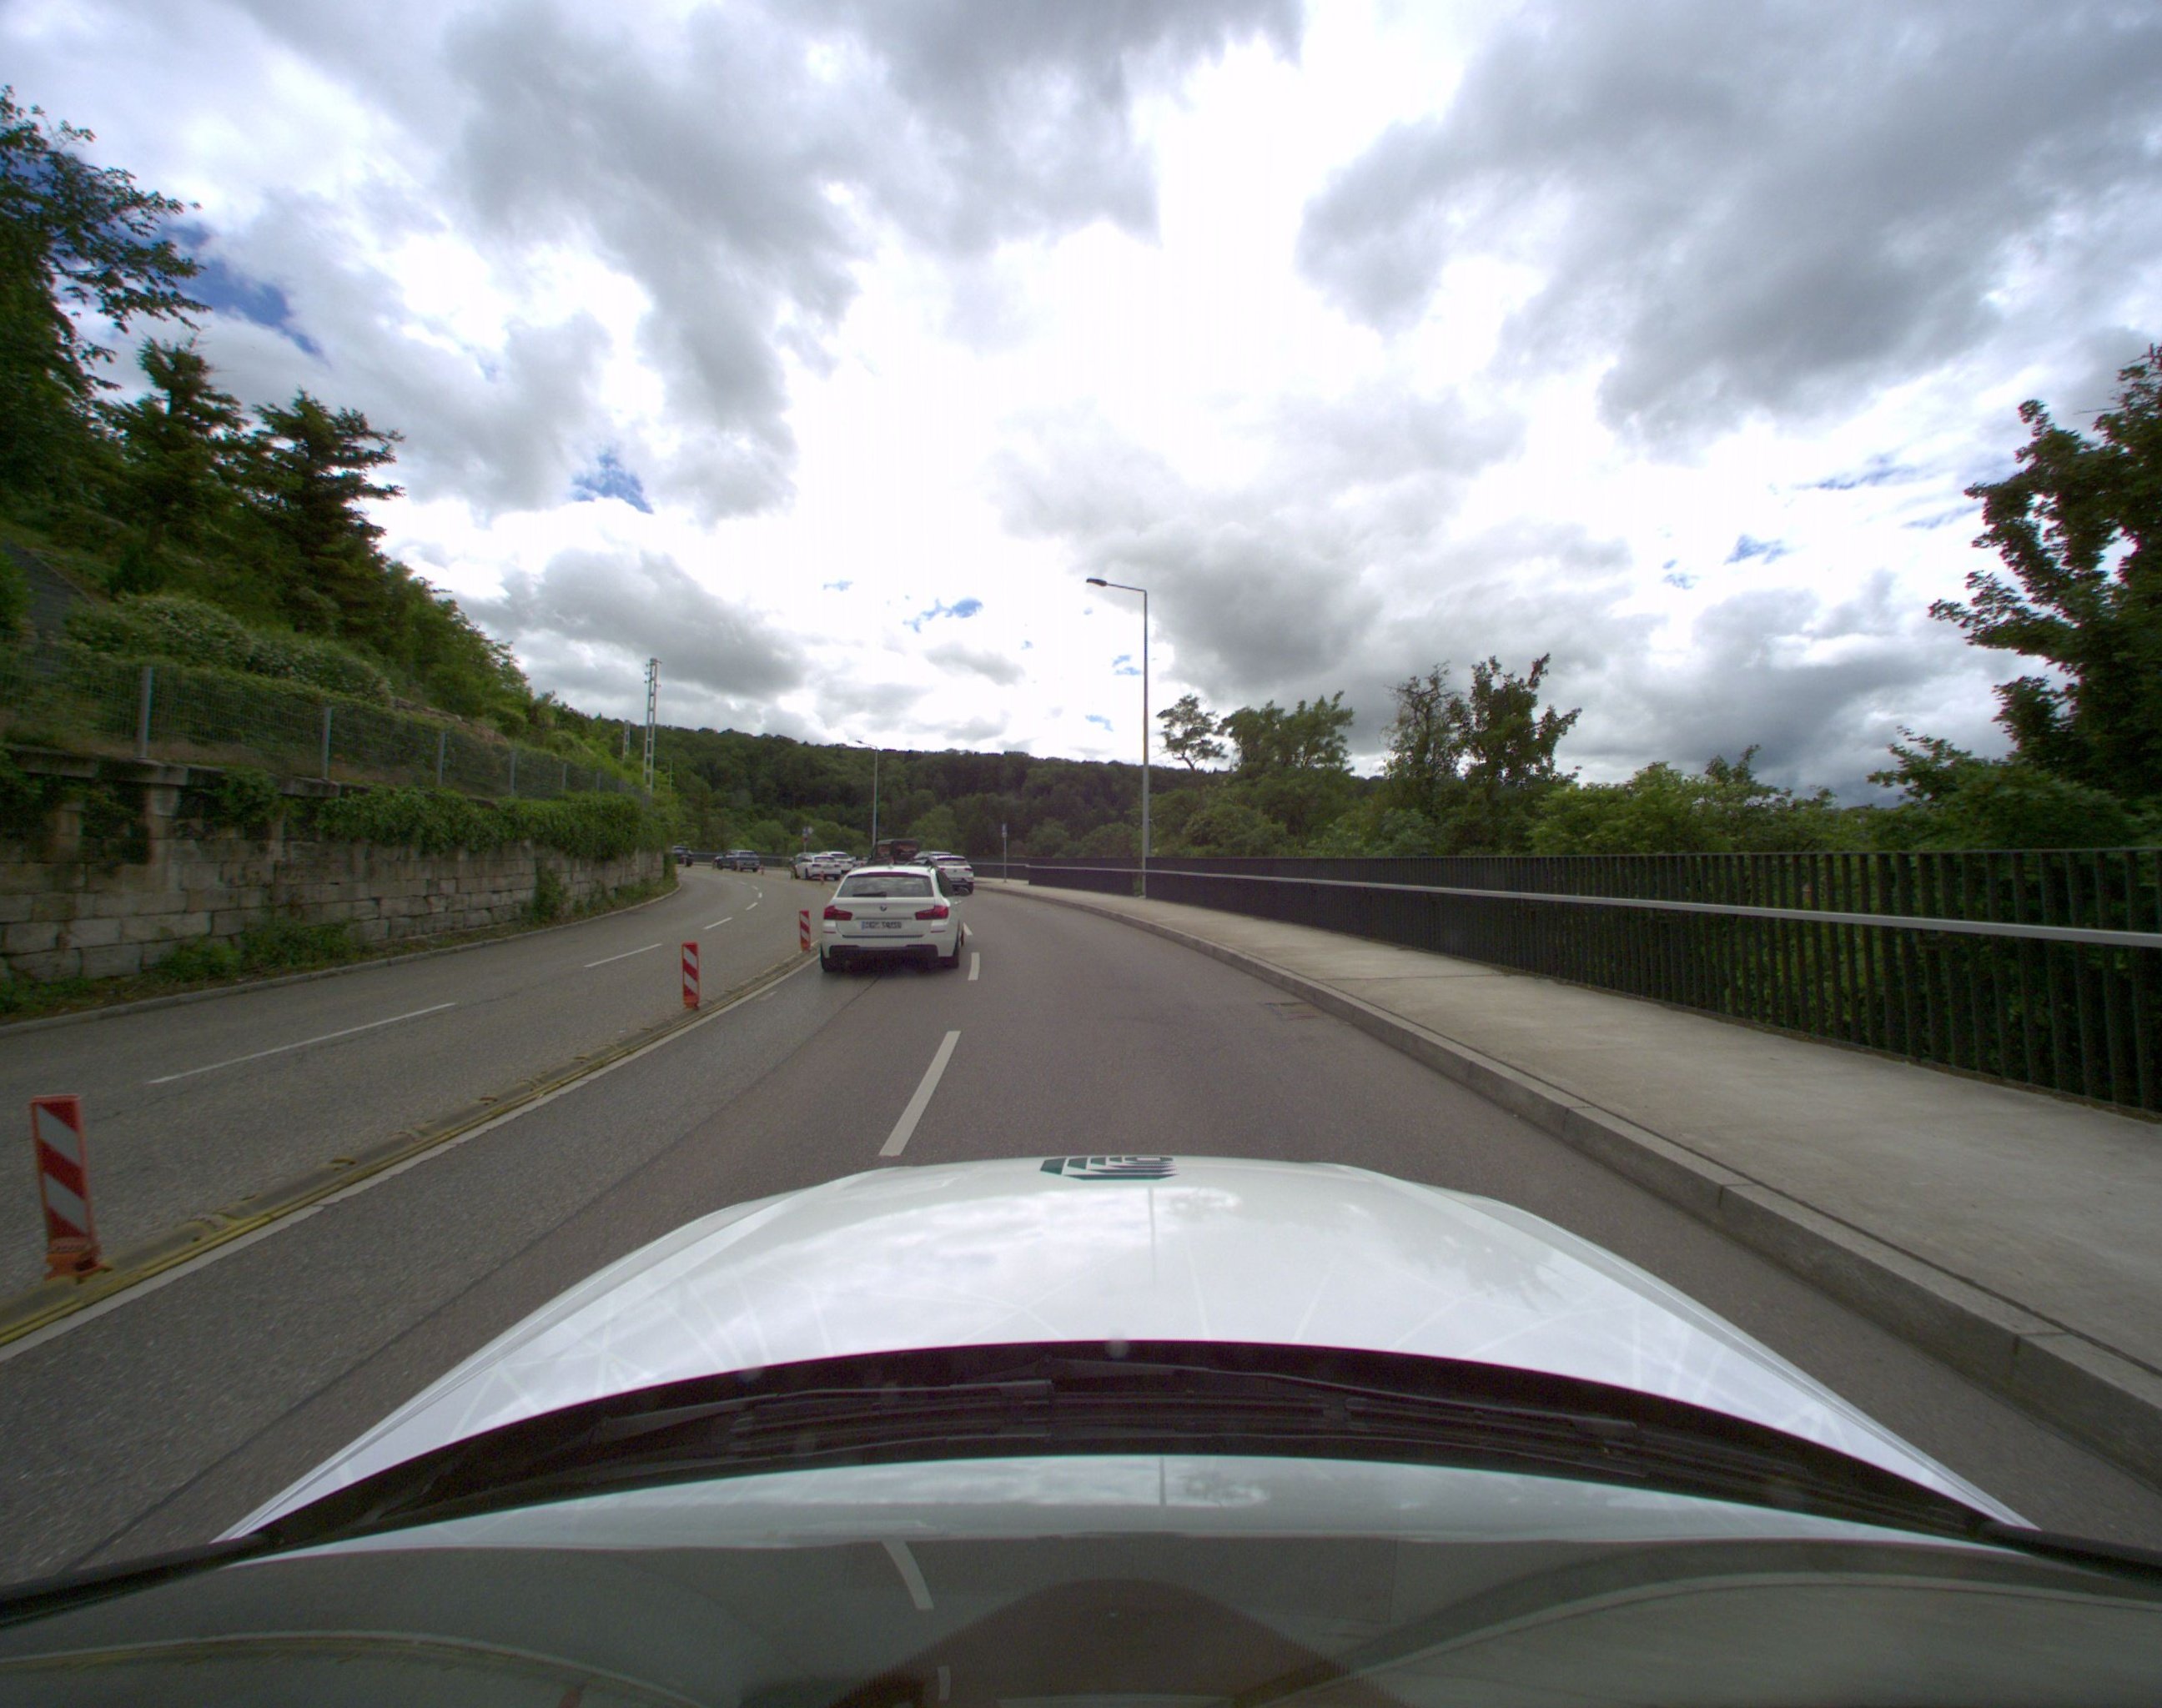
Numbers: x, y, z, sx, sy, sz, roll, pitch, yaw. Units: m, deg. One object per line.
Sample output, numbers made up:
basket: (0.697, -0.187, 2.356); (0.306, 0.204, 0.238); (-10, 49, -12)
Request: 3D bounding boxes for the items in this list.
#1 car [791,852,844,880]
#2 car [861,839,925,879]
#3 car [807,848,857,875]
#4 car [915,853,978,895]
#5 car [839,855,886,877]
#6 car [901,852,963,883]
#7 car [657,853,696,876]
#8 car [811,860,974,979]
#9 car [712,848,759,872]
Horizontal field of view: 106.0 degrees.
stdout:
car: (-15.279, 0.673, 47.118); (2.006, 1.503, 4.623); (-1, 0, -30)
car: (-12.579, 0.285, 54.211); (2.182, 2.521, 5.710); (-1, 1, -34)
car: (-16.499, 0.517, 53.883); (2.008, 1.718, 4.070); (-1, 0, -34)
car: (-5.701, 0.808, 34.078); (1.834, 1.606, 3.972); (-1, 0, -21)
car: (-15.758, 0.855, 58.718); (1.729, 1.431, 3.804); (2, -1, -42)
car: (-8.945, 0.796, 48.482); (2.007, 1.718, 4.999); (0, -1, -31)
car: (-33.508, 0.911, 67.381); (1.885, 1.762, 3.951); (3, -4, -41)
car: (-2.687, 0.843, 12.613); (1.825, 1.459, 4.478); (-1, 0, -5)
car: (-25.136, 0.431, 59.245); (2.011, 1.648, 3.952); (-1, 0, -41)
